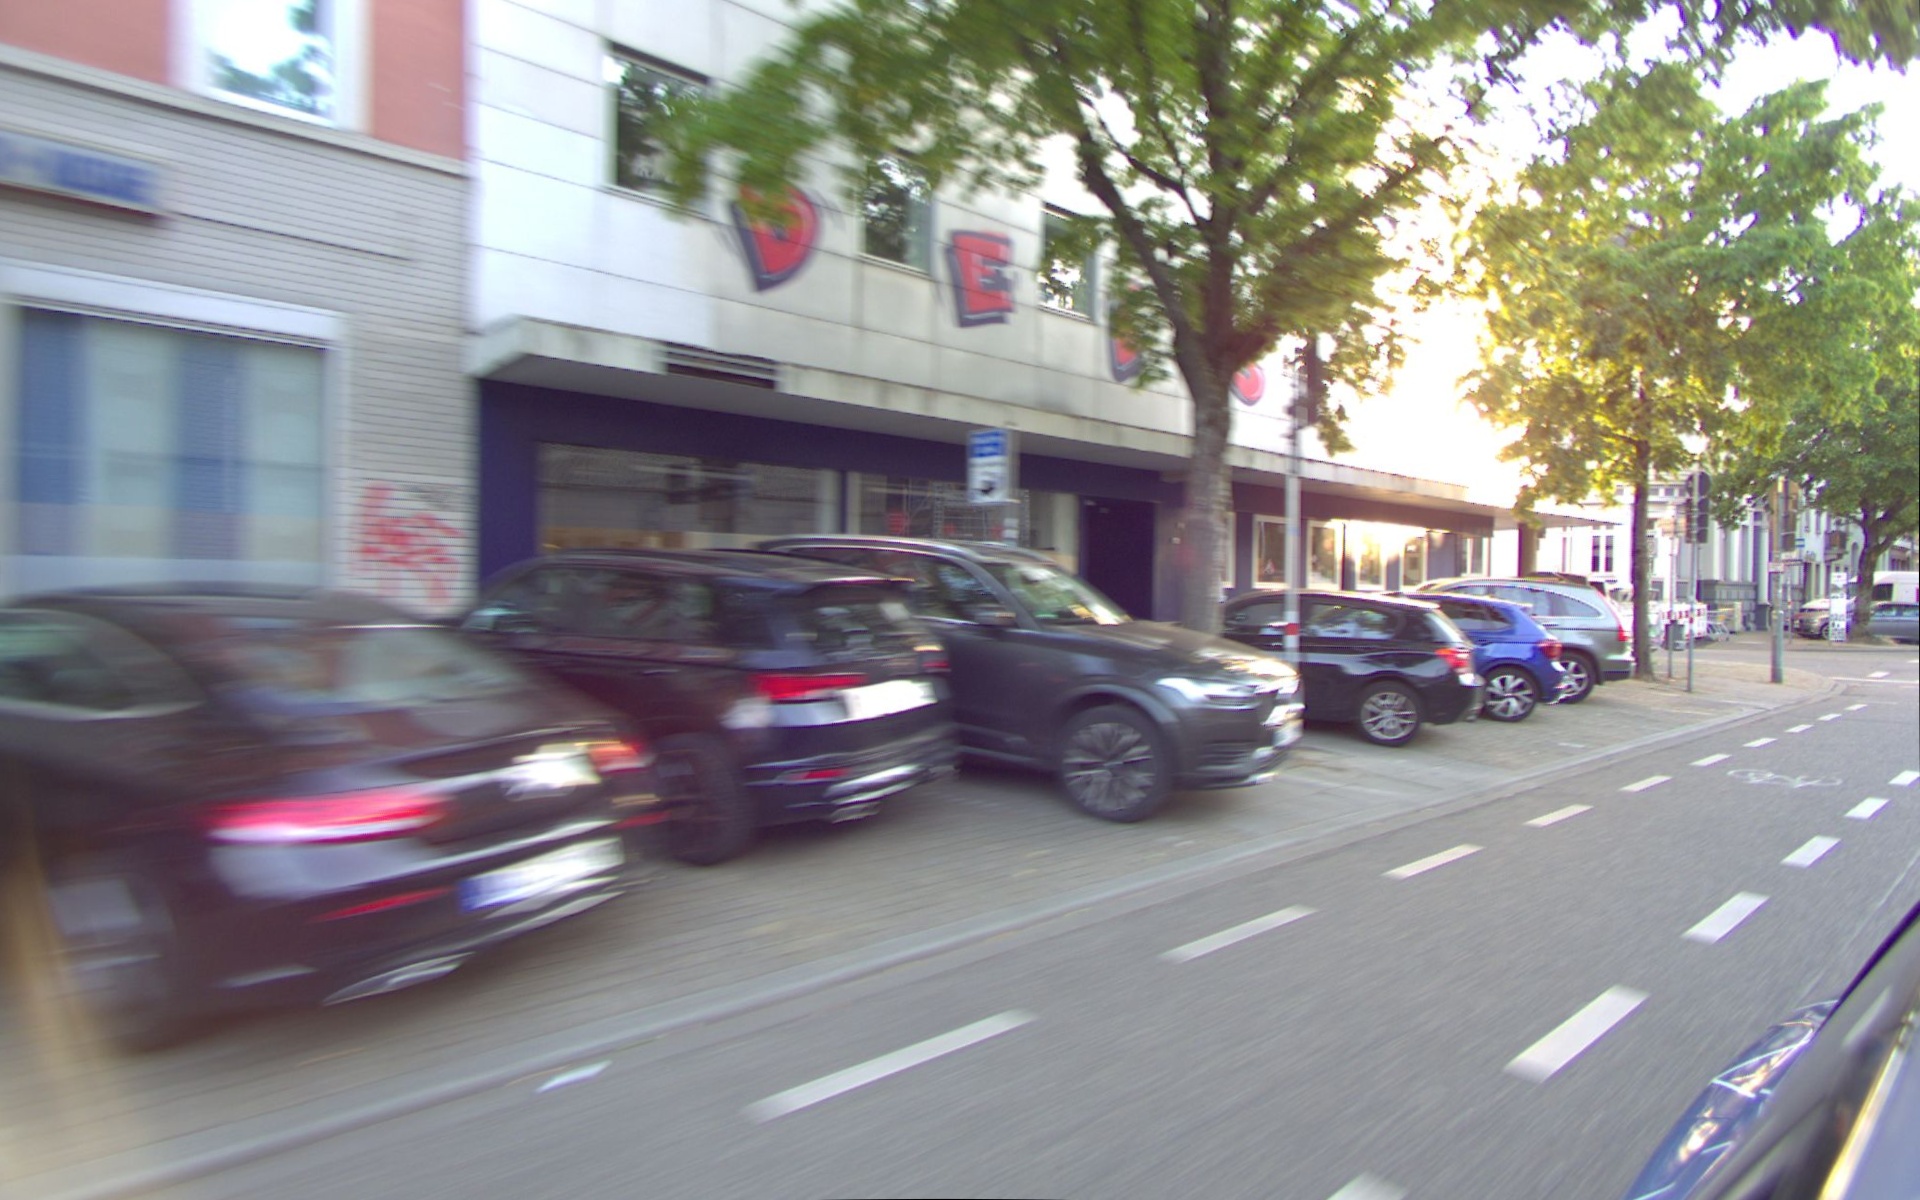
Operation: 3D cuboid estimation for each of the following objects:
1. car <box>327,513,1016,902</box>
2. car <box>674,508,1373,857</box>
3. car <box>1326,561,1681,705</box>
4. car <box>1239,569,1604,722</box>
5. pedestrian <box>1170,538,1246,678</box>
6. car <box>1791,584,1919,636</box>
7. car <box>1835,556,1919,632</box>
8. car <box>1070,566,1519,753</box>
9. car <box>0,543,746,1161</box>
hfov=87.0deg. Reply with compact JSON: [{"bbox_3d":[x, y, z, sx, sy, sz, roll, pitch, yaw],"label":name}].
[{"bbox_3d":[-1.966,0.371,6.502,4.196,1.669,1.953,4,3,32],"label":"car"},{"bbox_3d":[0.340,0.321,7.851,4.945,1.848,2.183,4,3,32],"label":"car"},{"bbox_3d":[7.585,0.375,14.619,4.110,1.684,1.834,3,3,16],"label":"car"},{"bbox_3d":[5.616,0.463,12.795,3.846,1.520,1.802,4,3,20],"label":"car"},{"bbox_3d":[3.704,0.095,15.112,0.772,2.009,0.693,0,3,-40],"label":"pedestrian"},{"bbox_3d":[30.630,0.363,33.364,4.556,1.532,1.848,4,1,23],"label":"car"},{"bbox_3d":[35.982,-0.200,36.988,5.561,2.728,2.161,1,0,16],"label":"car"},{"bbox_3d":[3.453,0.484,10.827,4.121,1.482,1.957,4,3,23],"label":"car"},{"bbox_3d":[-3.232,0.559,4.389,4.185,1.444,1.959,4,3,26],"label":"car"}]
